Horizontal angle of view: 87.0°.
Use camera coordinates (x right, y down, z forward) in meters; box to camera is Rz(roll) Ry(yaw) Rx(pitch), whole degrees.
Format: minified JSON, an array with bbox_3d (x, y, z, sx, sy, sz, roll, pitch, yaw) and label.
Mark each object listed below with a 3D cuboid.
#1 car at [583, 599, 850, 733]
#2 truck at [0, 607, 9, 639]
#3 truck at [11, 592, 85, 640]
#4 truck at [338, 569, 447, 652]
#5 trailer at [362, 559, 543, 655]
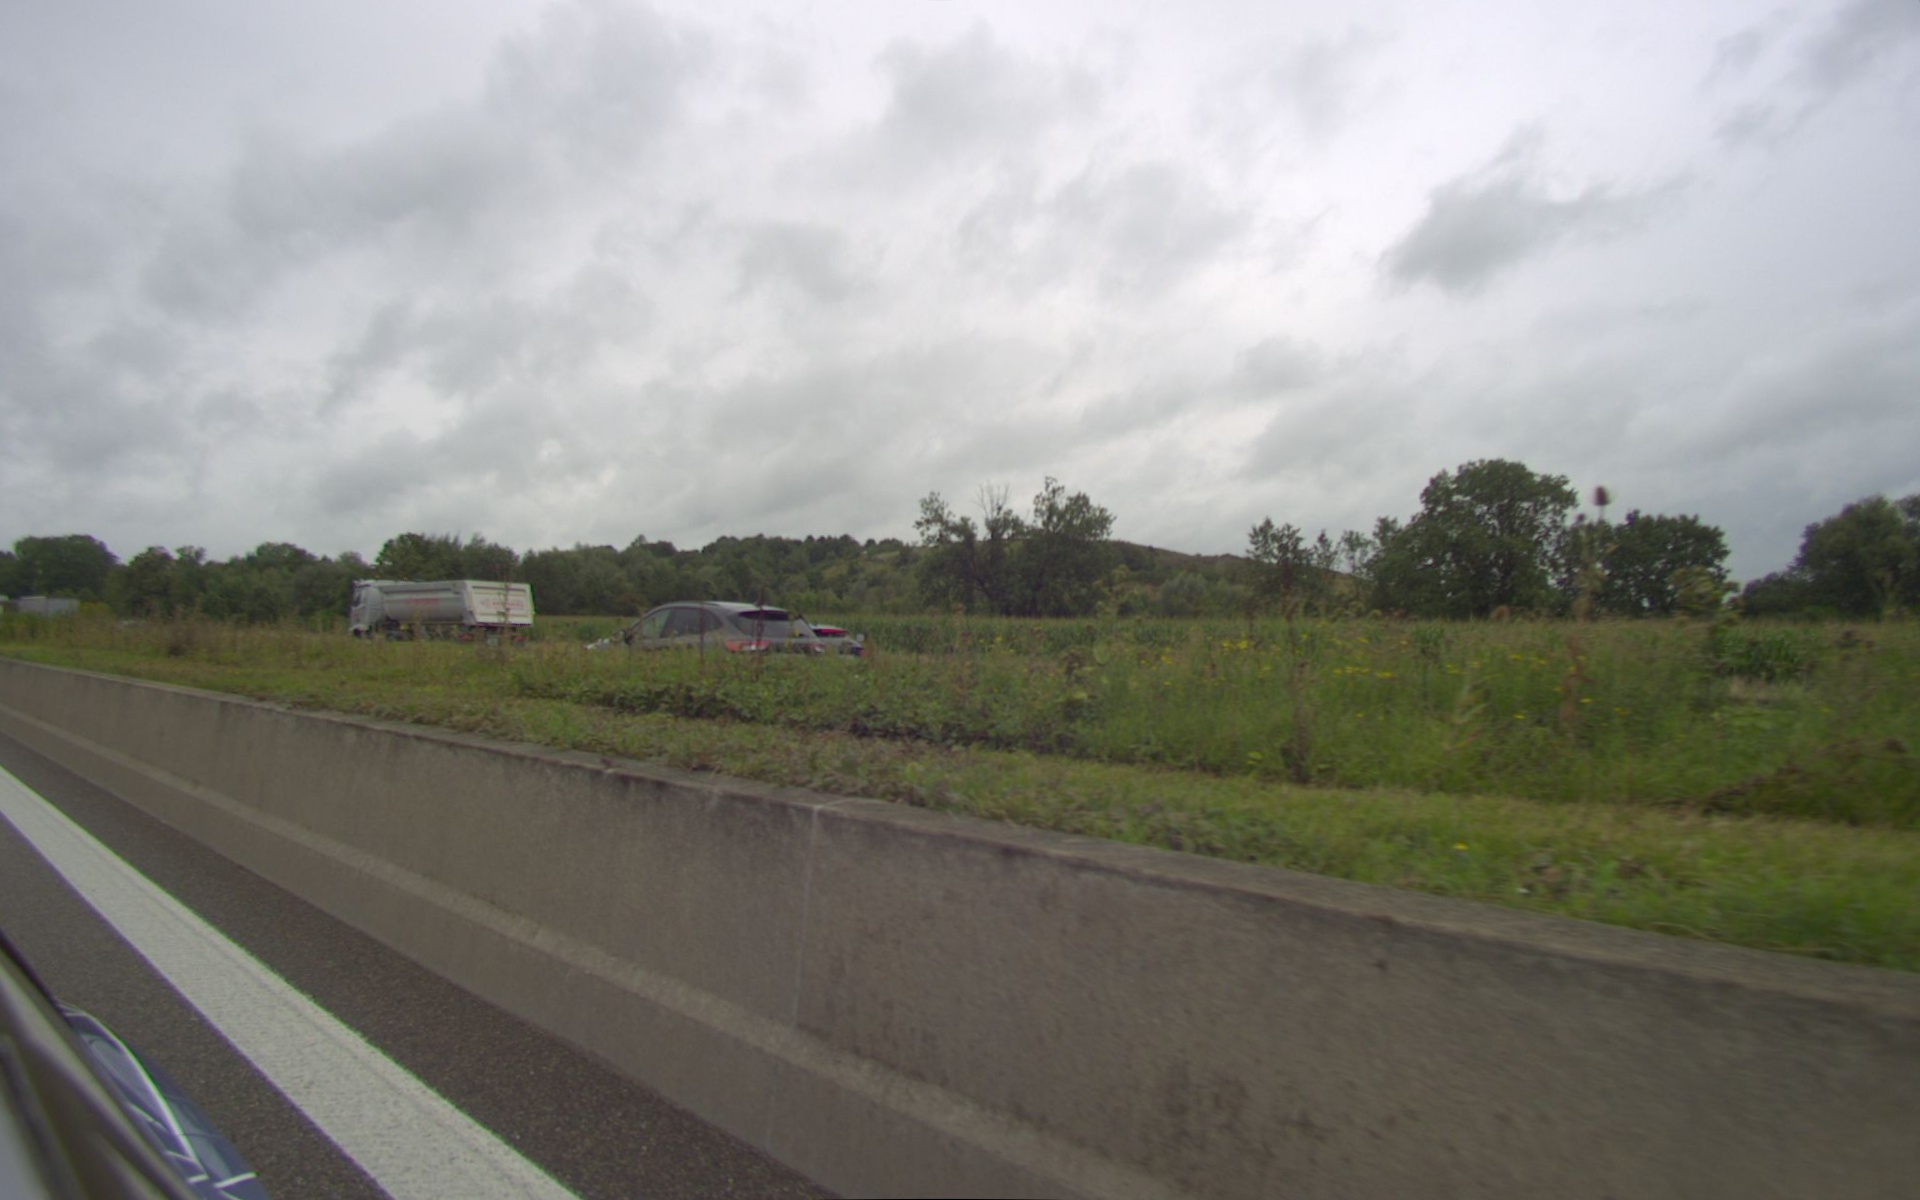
[{"bbox_3d":[-3.665,0.876,14.891,3.998,1.697,1.863,-1,-1,41],"label":"car"},{"bbox_3d":[-122.575,2.883,127.685,8.758,4.005,2.425,-1,-2,38],"label":"truck"},{"bbox_3d":[-90.072,1.542,99.796,16.889,4.375,3.291,-1,0,41],"label":"truck"},{"bbox_3d":[-24.483,0.434,43.620,4.518,3.369,2.728,-1,0,40],"label":"truck"},{"bbox_3d":[-20.219,0.299,39.921,9.920,3.353,2.759,-1,0,41],"label":"trailer"}]
